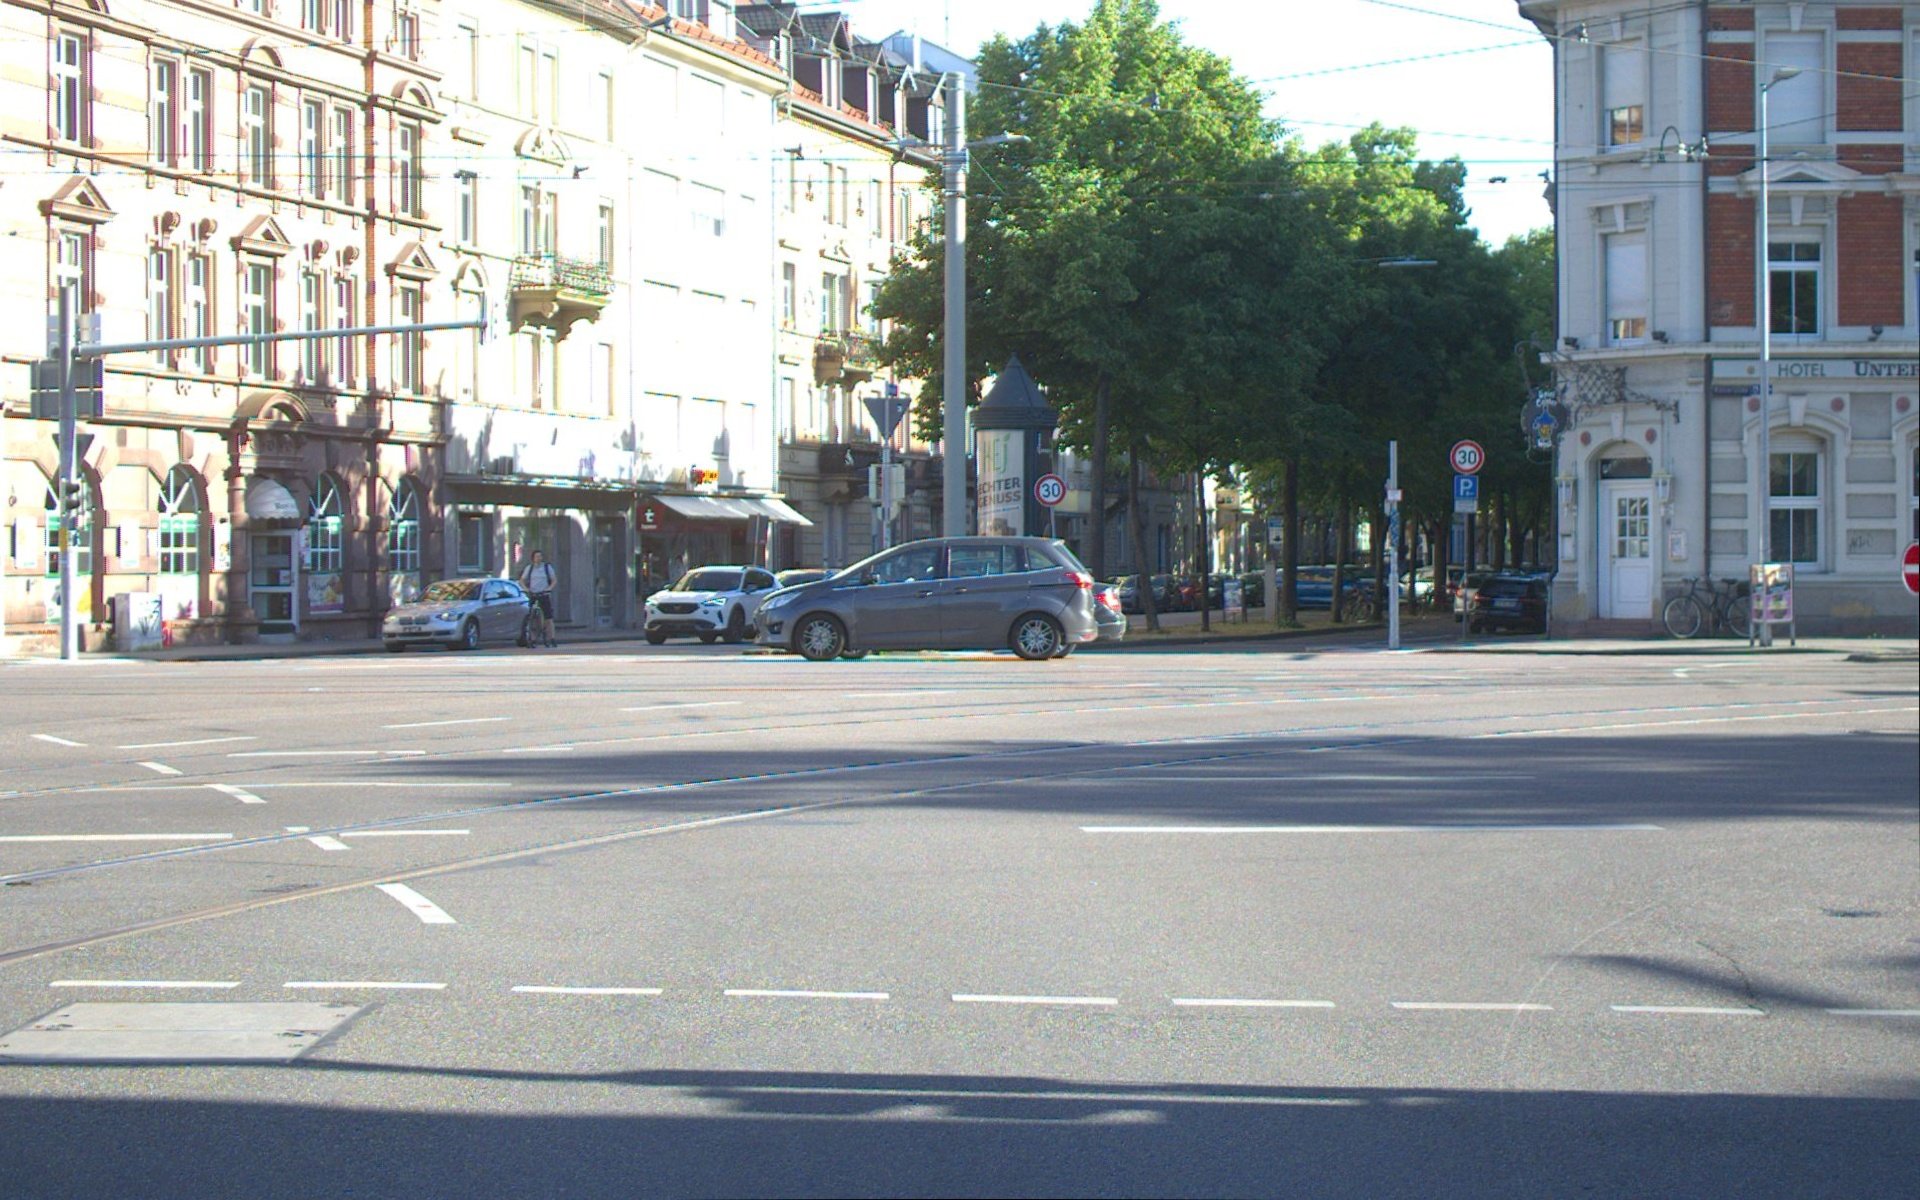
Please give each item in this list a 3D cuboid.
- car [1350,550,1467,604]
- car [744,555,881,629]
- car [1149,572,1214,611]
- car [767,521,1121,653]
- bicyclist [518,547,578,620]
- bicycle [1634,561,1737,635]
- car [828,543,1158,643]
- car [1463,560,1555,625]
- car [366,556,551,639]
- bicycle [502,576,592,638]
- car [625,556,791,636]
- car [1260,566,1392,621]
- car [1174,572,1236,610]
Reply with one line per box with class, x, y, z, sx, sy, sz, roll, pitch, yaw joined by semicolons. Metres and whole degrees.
car;17.404;-0.888;133.434;4.115;1.912;1.744;3;1;21
car;-3.129;-0.195;73.541;1.994;1.508;3.998;0;1;12
car;8.504;-0.323;131.617;1.742;1.393;4.121;3;1;13
car;-0.218;-0.184;44.930;4.510;1.666;2.000;0;1;-1
bicyclist;-7.853;-0.318;65.599;0.794;1.370;1.107;0;1;14
bicycle;12.063;-0.038;57.144;1.639;1.218;0.606;0;1;16
car;0.420;-0.111;47.967;4.509;1.336;2.000;0;1;-2
car;13.167;-0.162;82.296;1.652;1.519;3.750;0;0;17
car;-9.777;-0.075;67.388;2.098;1.540;4.361;0;1;14
bicycle;-7.866;0.123;65.637;0.751;1.131;2.808;0;1;14
car;-4.878;-0.107;67.174;2.098;1.494;3.998;0;1;14
car;12.288;-0.235;115.235;4.113;1.640;1.745;3;1;15
car;9.722;-0.359;136.395;1.742;1.393;4.121;3;1;13
